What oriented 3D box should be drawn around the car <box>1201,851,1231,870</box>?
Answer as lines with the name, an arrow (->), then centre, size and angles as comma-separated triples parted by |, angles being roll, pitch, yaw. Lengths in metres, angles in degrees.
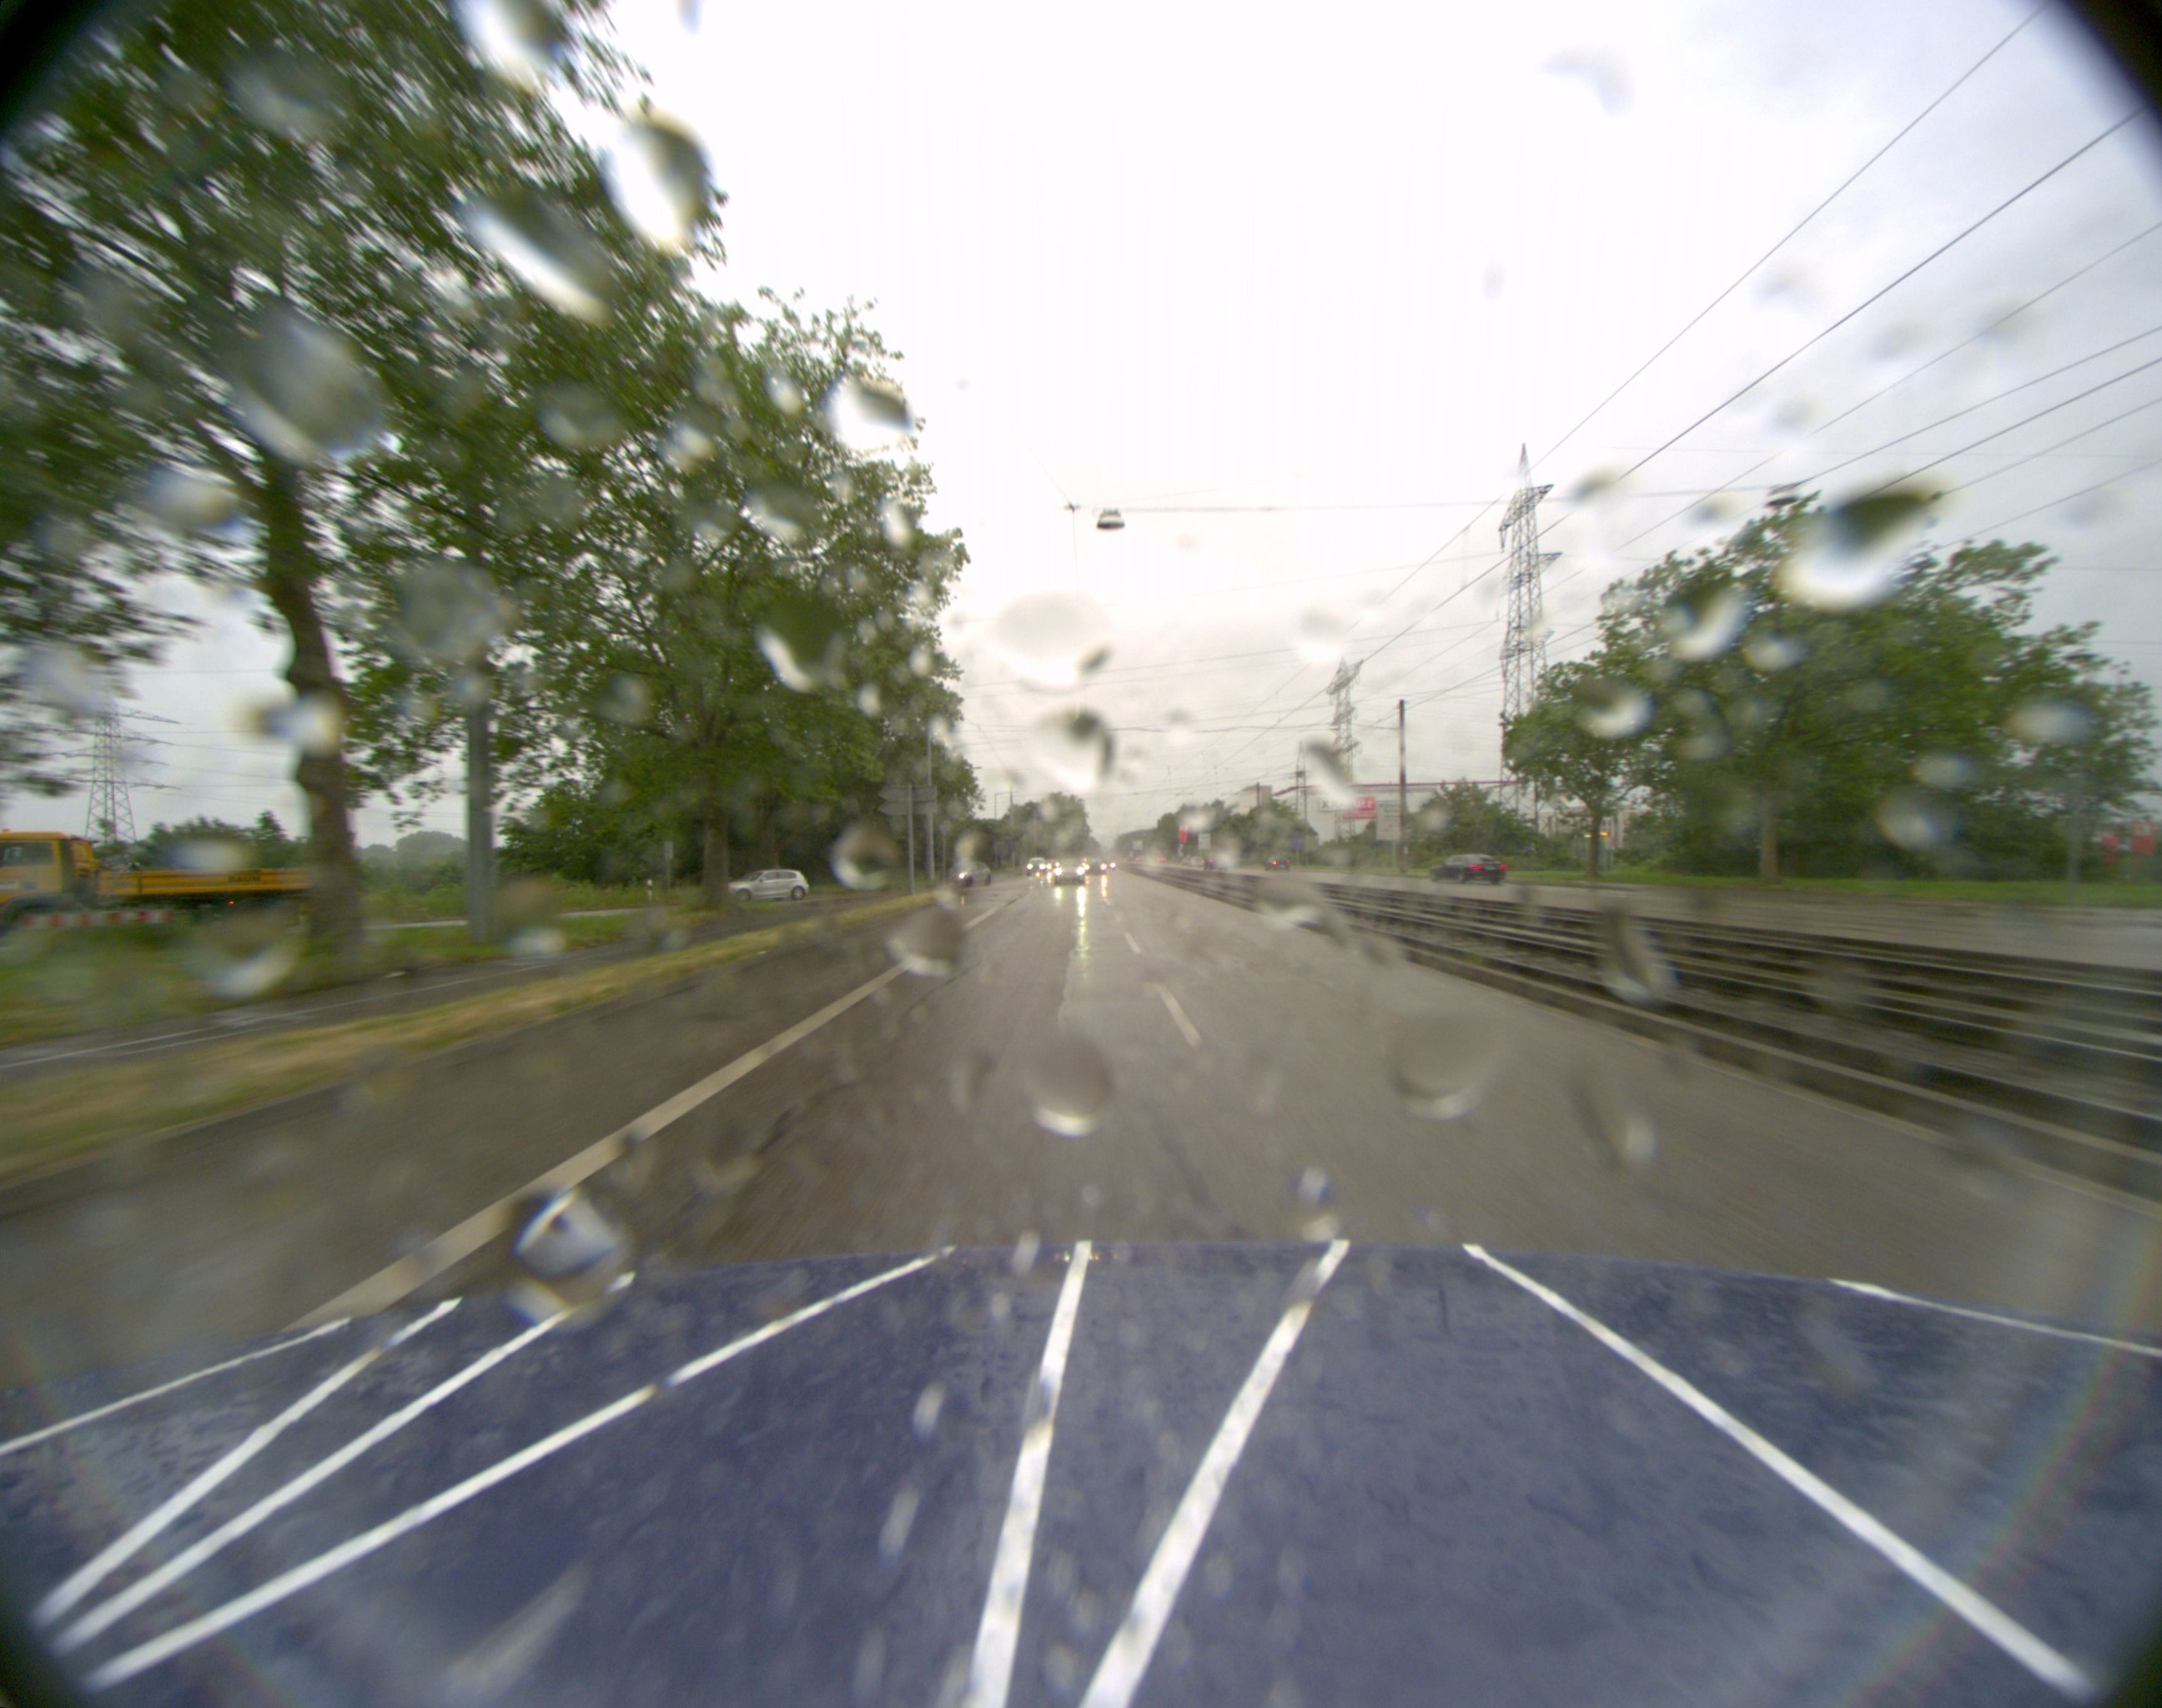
car -> 13.486, 0.682, 76.076 | 1.892, 1.798, 5.004 | -2, -1, -1

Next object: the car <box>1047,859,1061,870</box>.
car -> -3.834, 1.463, 108.354 | 1.784, 1.419, 4.001 | -2, -1, 2

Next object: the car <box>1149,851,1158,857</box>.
car -> 18.969, -0.028, 197.925 | 1.847, 1.564, 5.066 | -2, -1, 0

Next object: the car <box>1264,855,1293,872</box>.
car -> 19.212, 0.896, 74.195 | 1.693, 1.542, 4.000 | -2, -1, 0

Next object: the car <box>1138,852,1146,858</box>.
car -> 17.050, 0.330, 213.842 | 1.829, 1.625, 5.137 | -2, -1, 0

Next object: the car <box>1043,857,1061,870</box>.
car -> -3.257, 1.061, 85.984 | 1.784, 1.419, 4.001 | -2, -1, 2

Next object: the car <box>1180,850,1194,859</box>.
car -> 18.364, 0.151, 131.606 | 1.762, 1.354, 5.072 | -2, -1, 0

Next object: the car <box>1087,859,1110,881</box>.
car -> 1.487, 1.337, 64.174 | 1.815, 1.692, 4.001 | -2, -1, 2

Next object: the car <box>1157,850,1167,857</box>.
car -> 19.316, -0.076, 181.710 | 1.998, 1.455, 5.253 | 1, -1, 3

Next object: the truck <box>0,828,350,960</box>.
truck -> -25.424, 0.975, 21.302 | 6.946, 3.238, 2.557 | -2, -1, -42

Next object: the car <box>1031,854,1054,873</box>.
car -> -3.645, 0.867, 72.654 | 1.797, 1.692, 4.764 | -2, -1, 2

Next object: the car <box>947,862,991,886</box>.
car -> -6.699, 1.173, 45.819 | 1.892, 1.349, 4.278 | -2, -1, 1

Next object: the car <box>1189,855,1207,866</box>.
car -> 16.000, 0.936, 104.270 | 1.746, 1.346, 4.546 | -2, -1, 1

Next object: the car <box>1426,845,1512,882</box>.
car -> 19.447, 0.478, 38.358 | 1.846, 1.676, 4.650 | -2, -1, -1

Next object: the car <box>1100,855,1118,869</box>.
car -> 3.052, 0.888, 83.826 | 1.807, 1.521, 3.645 | -2, -1, 0

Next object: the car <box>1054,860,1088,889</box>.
car -> -0.572, 1.176, 43.907 | 1.807, 1.521, 3.645 | -2, -1, 0

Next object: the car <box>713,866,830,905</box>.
car -> -13.683, 1.372, 33.877 | 1.627, 1.494, 4.615 | -3, -1, 36

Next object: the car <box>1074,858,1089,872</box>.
car -> 0.112, 1.395, 98.509 | 1.815, 1.692, 4.001 | -2, -1, 1
